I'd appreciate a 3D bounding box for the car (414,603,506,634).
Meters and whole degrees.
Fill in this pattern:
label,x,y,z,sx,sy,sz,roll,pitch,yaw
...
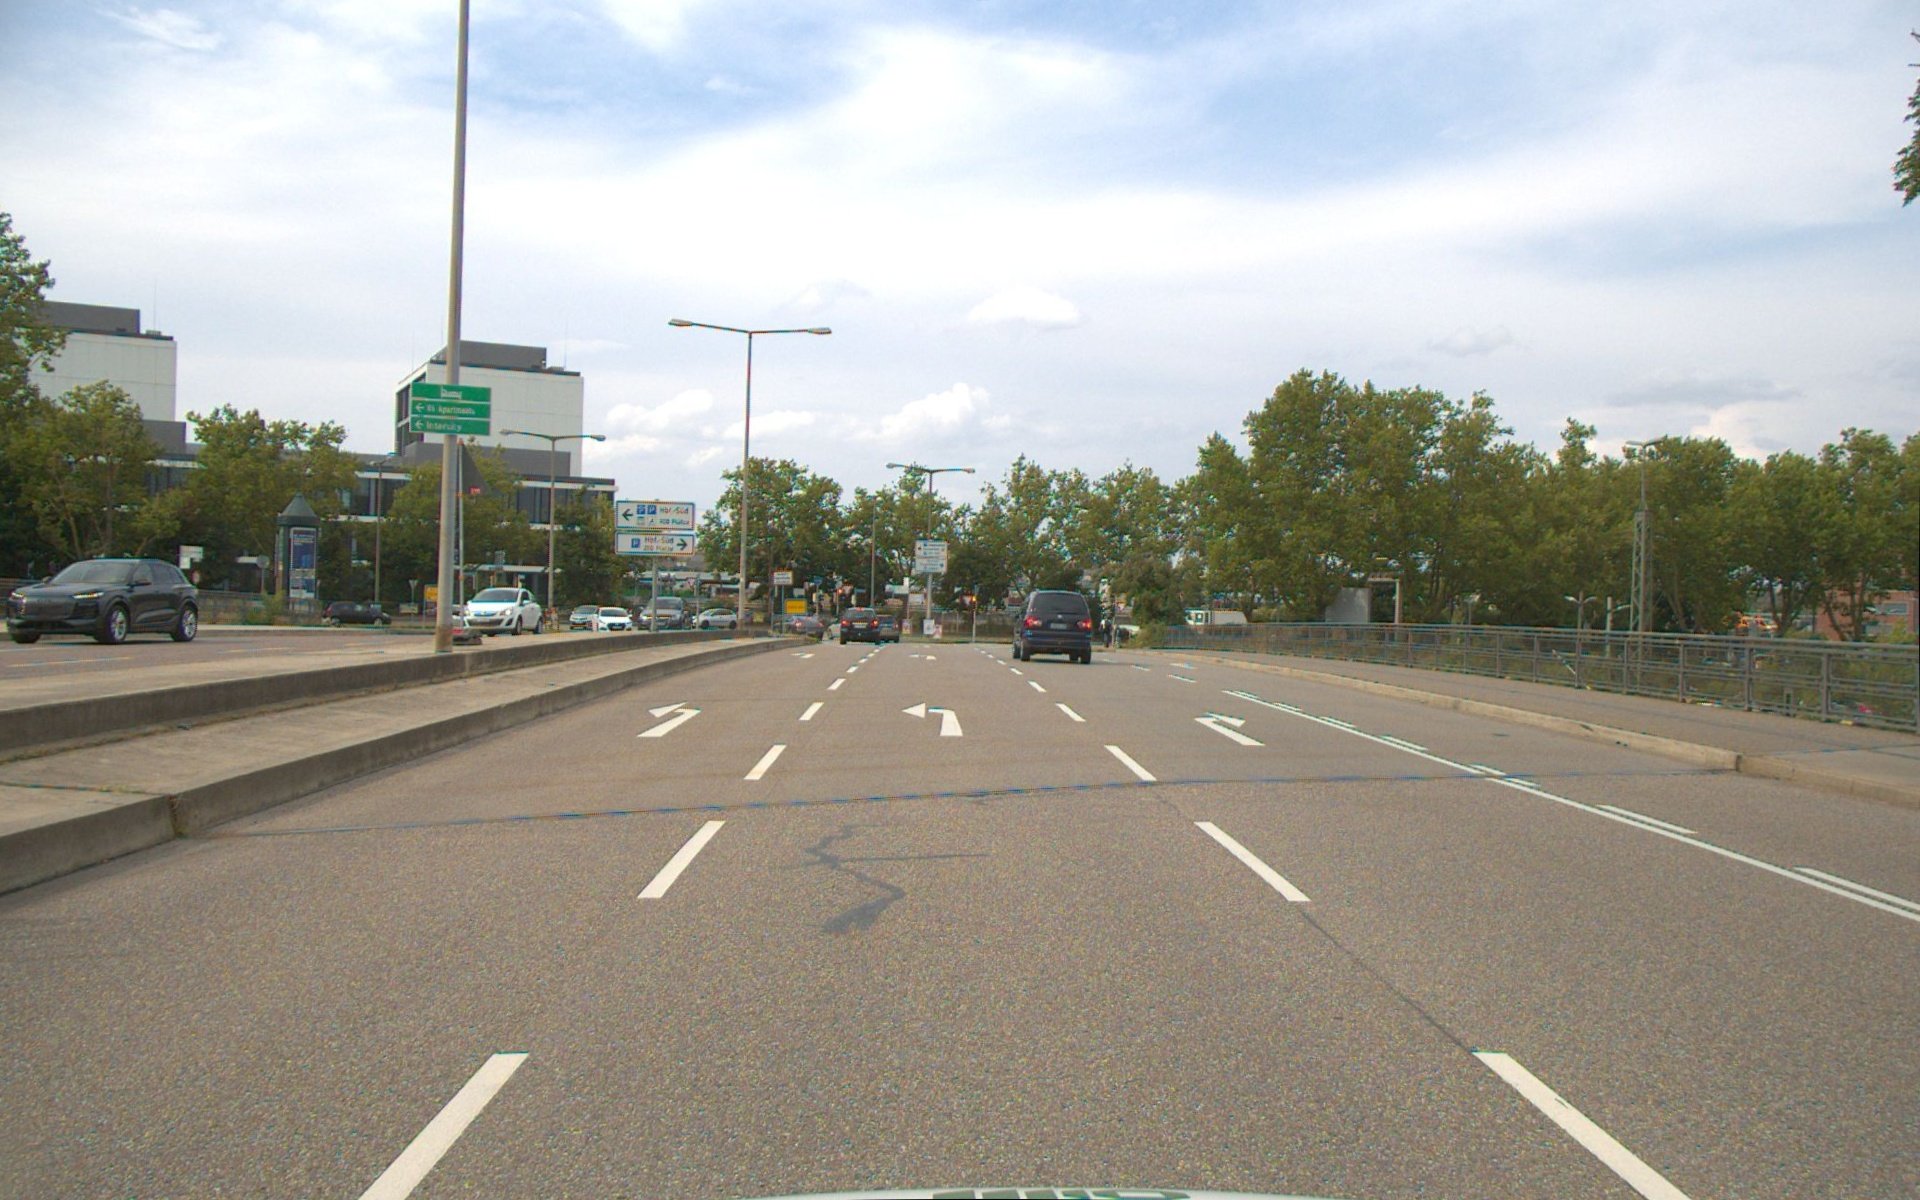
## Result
label,x,y,z,sx,sy,sz,roll,pitch,yaw
car,-25.659,0.951,84.841,4.778,1.553,1.920,0,-1,33

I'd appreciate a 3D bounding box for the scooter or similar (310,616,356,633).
label,x,y,z,sx,sy,sz,roll,pitch,yaw
scooter or similar,-33.018,1.289,87.134,0.790,0.864,2.383,1,-1,27

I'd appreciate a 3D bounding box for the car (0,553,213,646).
label,x,y,z,sx,sy,sz,roll,pitch,yaw
car,-16.804,0.004,32.829,1.848,1.668,4.545,1,0,0

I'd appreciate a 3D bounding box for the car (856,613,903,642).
label,x,y,z,sx,sy,sz,roll,pitch,yaw
car,-4.566,1.567,93.323,1.713,1.573,4.064,1,-1,-16

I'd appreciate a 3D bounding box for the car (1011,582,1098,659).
label,x,y,z,sx,sy,sz,roll,pitch,yaw
car,2.325,0.542,41.576,1.715,1.755,4.135,3,-2,-2

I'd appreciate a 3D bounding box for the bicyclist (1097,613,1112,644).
label,x,y,z,sx,sy,sz,roll,pitch,yaw
bicyclist,8.247,1.617,94.413,0.793,1.726,1.116,1,-1,3

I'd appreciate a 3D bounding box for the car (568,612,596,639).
label,x,y,z,sx,sy,sz,roll,pitch,yaw
car,-24.610,1.675,107.758,1.711,1.688,4.066,0,-2,-12

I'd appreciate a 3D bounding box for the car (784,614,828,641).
label,x,y,z,sx,sy,sz,roll,pitch,yaw
car,-8.934,1.561,95.618,1.788,1.439,4.759,2,-1,-14

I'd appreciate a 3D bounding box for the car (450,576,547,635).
label,x,y,z,sx,sy,sz,roll,pitch,yaw
car,-13.945,0.171,50.190,1.849,1.668,4.215,1,0,-2

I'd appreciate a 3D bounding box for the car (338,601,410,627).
label,x,y,z,sx,sy,sz,roll,pitch,yaw
car,-37.192,0.902,105.012,3.962,1.557,1.659,2,-1,-40

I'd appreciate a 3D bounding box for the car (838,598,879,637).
label,x,y,z,sx,sy,sz,roll,pitch,yaw
car,-4.493,0.750,72.733,1.722,1.603,4.033,2,0,-4

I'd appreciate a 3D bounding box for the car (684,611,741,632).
label,x,y,z,sx,sy,sz,roll,pitch,yaw
car,-18.078,1.583,120.783,3.815,1.435,1.601,1,-2,-35

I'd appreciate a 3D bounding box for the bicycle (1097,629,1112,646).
label,x,y,z,sx,sy,sz,roll,pitch,yaw
bicycle,8.242,2.141,94.469,0.792,0.969,2.236,1,-1,3

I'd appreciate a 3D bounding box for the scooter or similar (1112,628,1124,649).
label,x,y,z,sx,sy,sz,roll,pitch,yaw
scooter or similar,9.216,2.260,96.716,0.389,1.204,1.278,1,-2,-8

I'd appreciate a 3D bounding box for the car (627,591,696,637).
label,x,y,z,sx,sy,sz,roll,pitch,yaw
car,-11.424,0.541,63.559,1.849,1.668,4.583,1,0,-1

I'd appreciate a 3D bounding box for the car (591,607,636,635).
label,x,y,z,sx,sy,sz,roll,pitch,yaw
car,-18.725,1.114,89.175,1.889,1.440,4.856,0,0,-18

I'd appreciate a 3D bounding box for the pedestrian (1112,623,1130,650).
label,x,y,z,sx,sy,sz,roll,pitch,yaw
pedestrian,10.652,2.417,109.383,1.025,1.740,0.854,2,-1,9

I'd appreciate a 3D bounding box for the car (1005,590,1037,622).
label,x,y,z,sx,sy,sz,roll,pitch,yaw
car,3.498,0.376,95.309,1.656,1.613,4.156,3,-2,1
